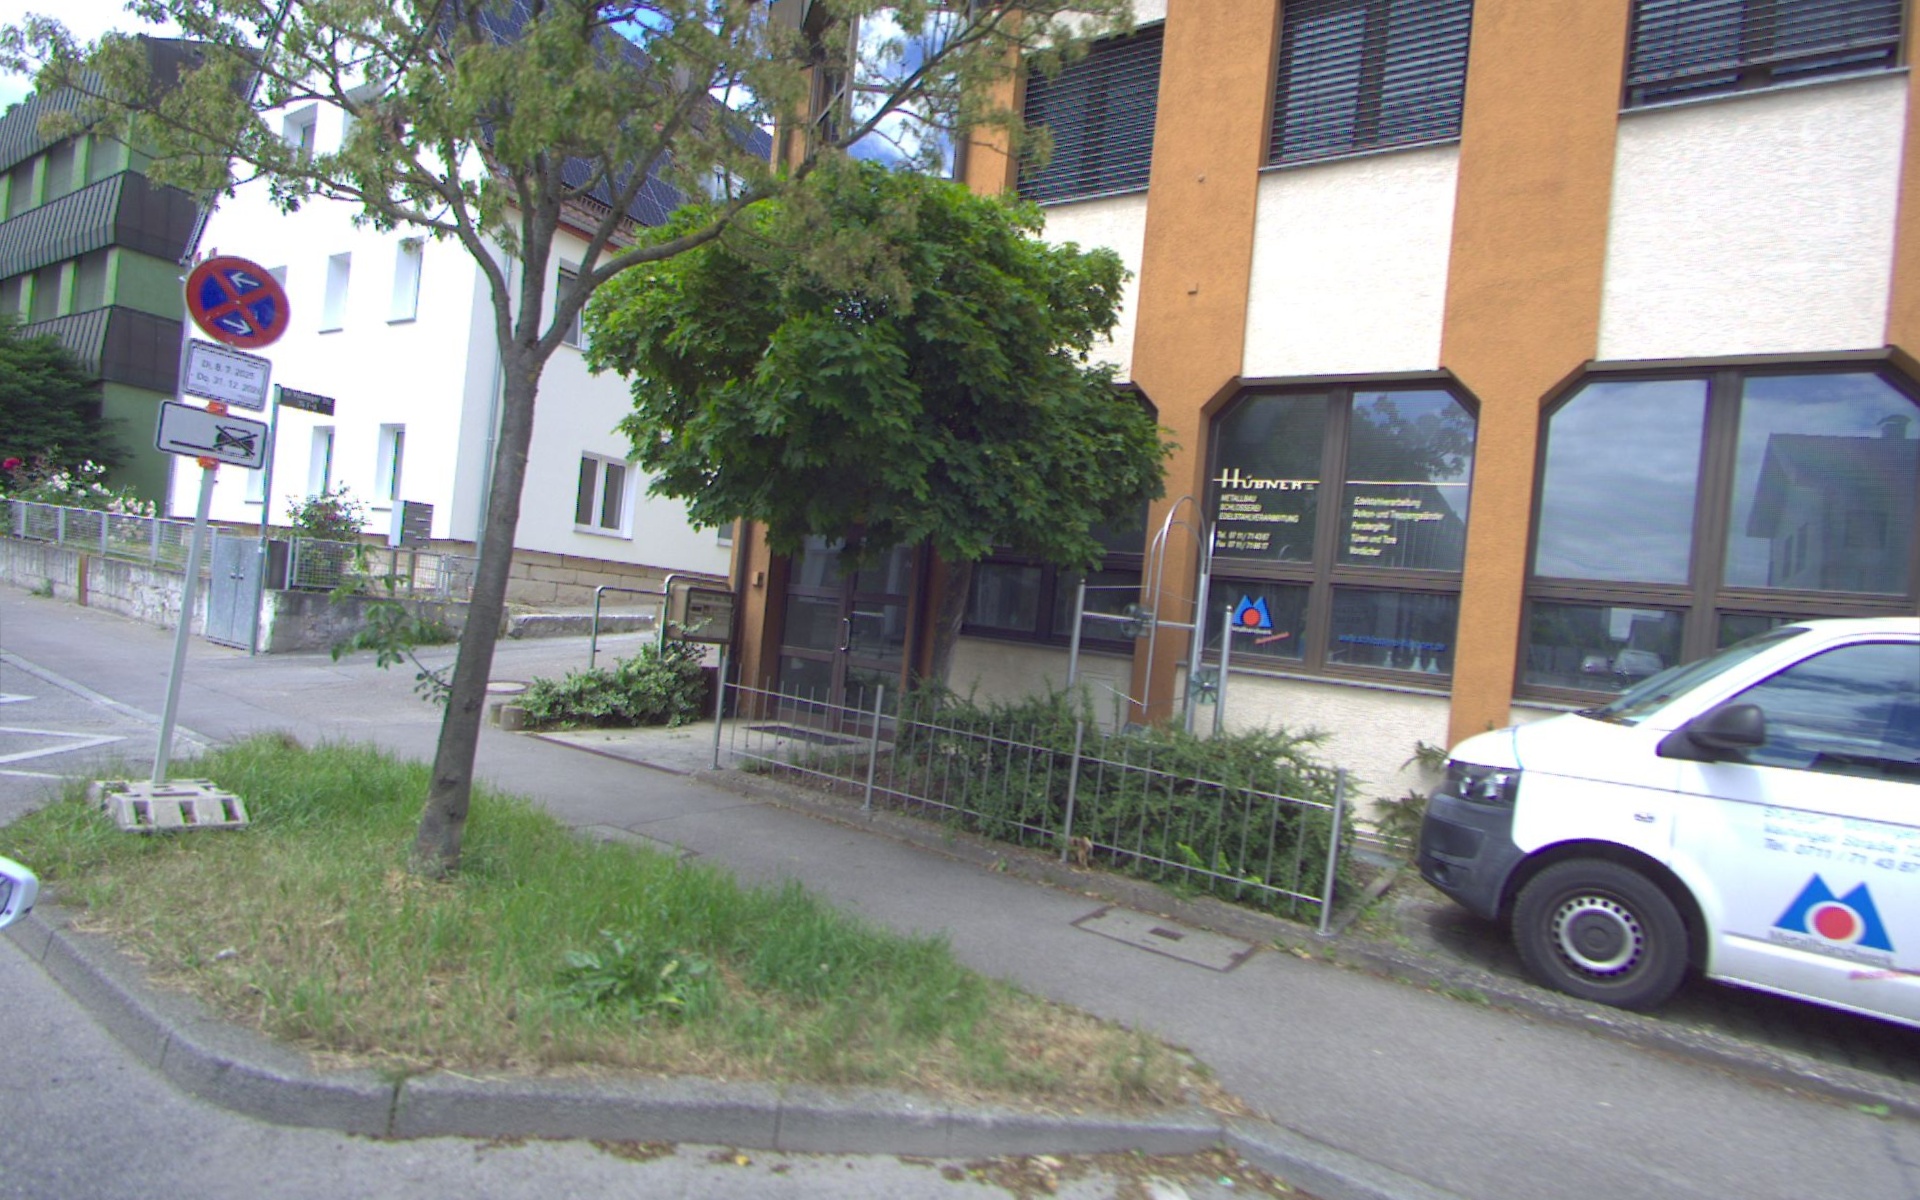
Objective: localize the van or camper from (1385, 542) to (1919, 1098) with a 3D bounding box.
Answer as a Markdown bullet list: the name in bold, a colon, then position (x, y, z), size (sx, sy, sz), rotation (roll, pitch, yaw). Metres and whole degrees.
- **van or camper**: position (4.553, 1.004, 4.485), size (4.475, 2.055, 1.869), rotation (6, -2, 34)
